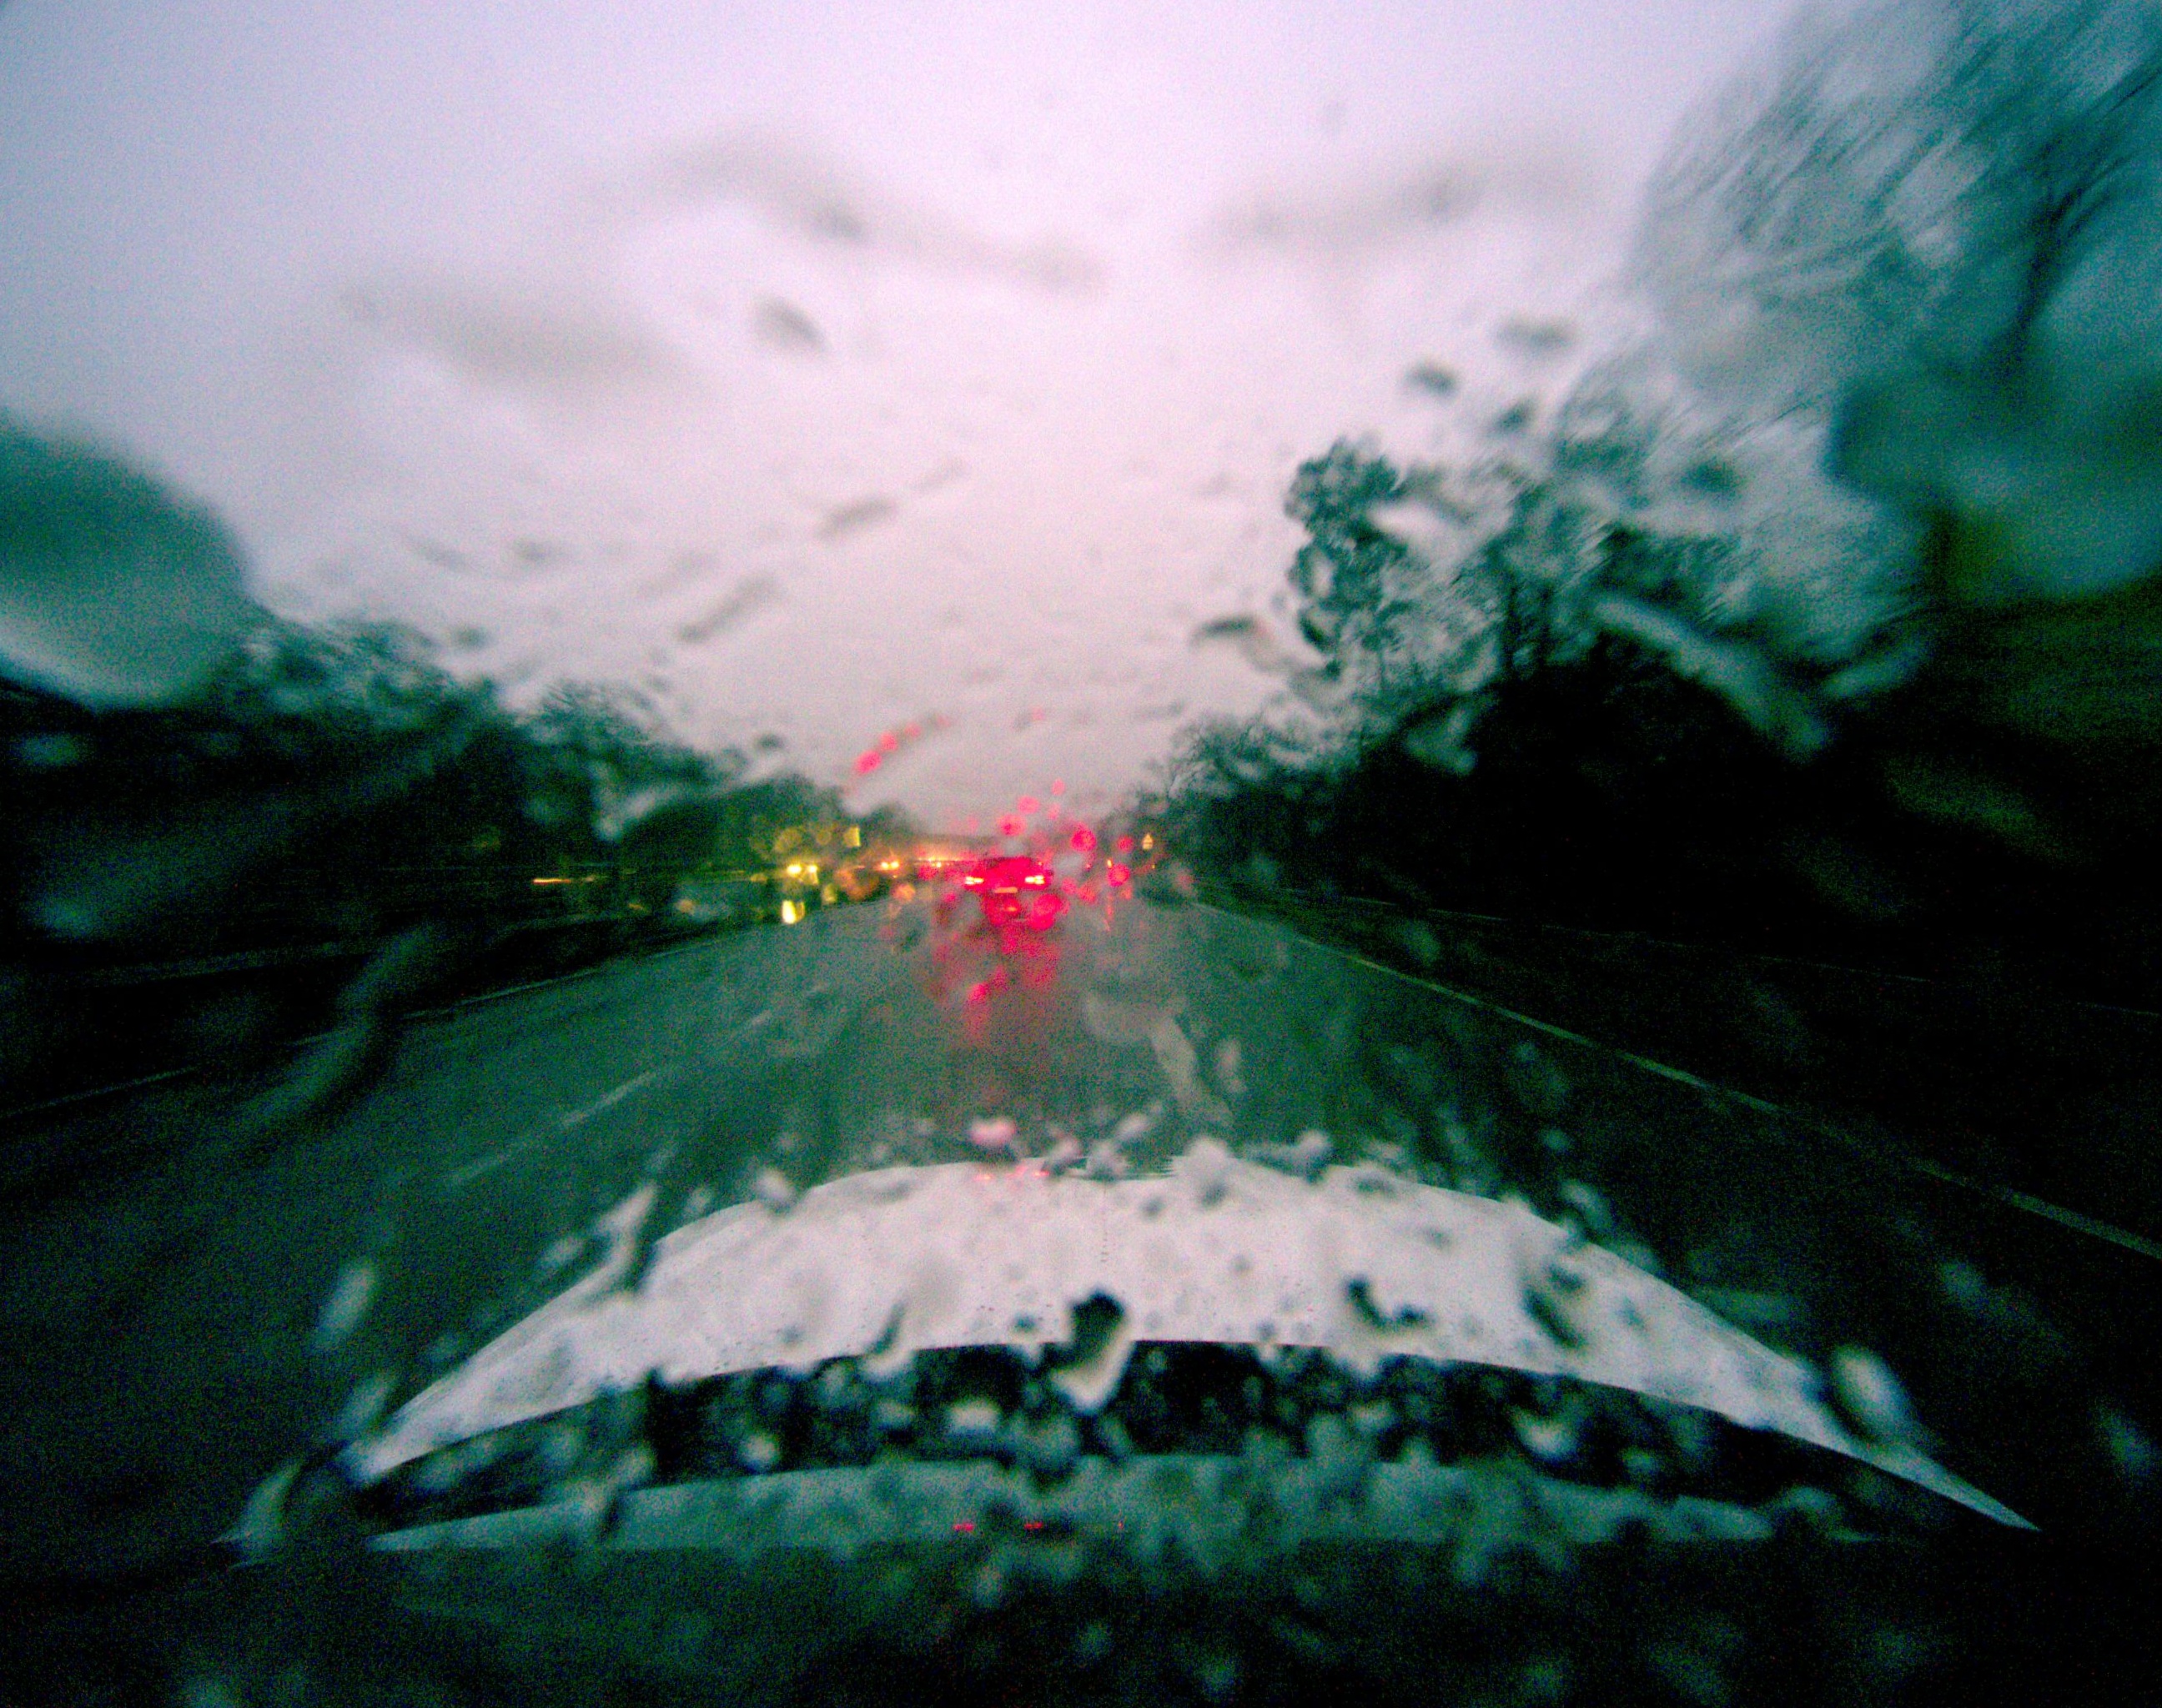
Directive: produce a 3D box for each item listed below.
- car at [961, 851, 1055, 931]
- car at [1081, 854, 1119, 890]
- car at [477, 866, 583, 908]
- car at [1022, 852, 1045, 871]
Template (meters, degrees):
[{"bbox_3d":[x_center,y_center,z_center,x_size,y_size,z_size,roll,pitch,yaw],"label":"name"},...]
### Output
[{"bbox_3d":[-1.714,0.792,19.372,1.990,1.665,3.993,-1,0,-5],"label":"car"},{"bbox_3d":[1.017,0.966,45.544,1.729,1.427,3.762,-1,8,-5],"label":"car"},{"bbox_3d":[-21.862,1.275,32.514,1.740,1.487,3.994,0,0,-4],"label":"car"},{"bbox_3d":[-4.458,0.637,75.771,1.876,1.617,3.865,1,1,-7],"label":"car"}]
